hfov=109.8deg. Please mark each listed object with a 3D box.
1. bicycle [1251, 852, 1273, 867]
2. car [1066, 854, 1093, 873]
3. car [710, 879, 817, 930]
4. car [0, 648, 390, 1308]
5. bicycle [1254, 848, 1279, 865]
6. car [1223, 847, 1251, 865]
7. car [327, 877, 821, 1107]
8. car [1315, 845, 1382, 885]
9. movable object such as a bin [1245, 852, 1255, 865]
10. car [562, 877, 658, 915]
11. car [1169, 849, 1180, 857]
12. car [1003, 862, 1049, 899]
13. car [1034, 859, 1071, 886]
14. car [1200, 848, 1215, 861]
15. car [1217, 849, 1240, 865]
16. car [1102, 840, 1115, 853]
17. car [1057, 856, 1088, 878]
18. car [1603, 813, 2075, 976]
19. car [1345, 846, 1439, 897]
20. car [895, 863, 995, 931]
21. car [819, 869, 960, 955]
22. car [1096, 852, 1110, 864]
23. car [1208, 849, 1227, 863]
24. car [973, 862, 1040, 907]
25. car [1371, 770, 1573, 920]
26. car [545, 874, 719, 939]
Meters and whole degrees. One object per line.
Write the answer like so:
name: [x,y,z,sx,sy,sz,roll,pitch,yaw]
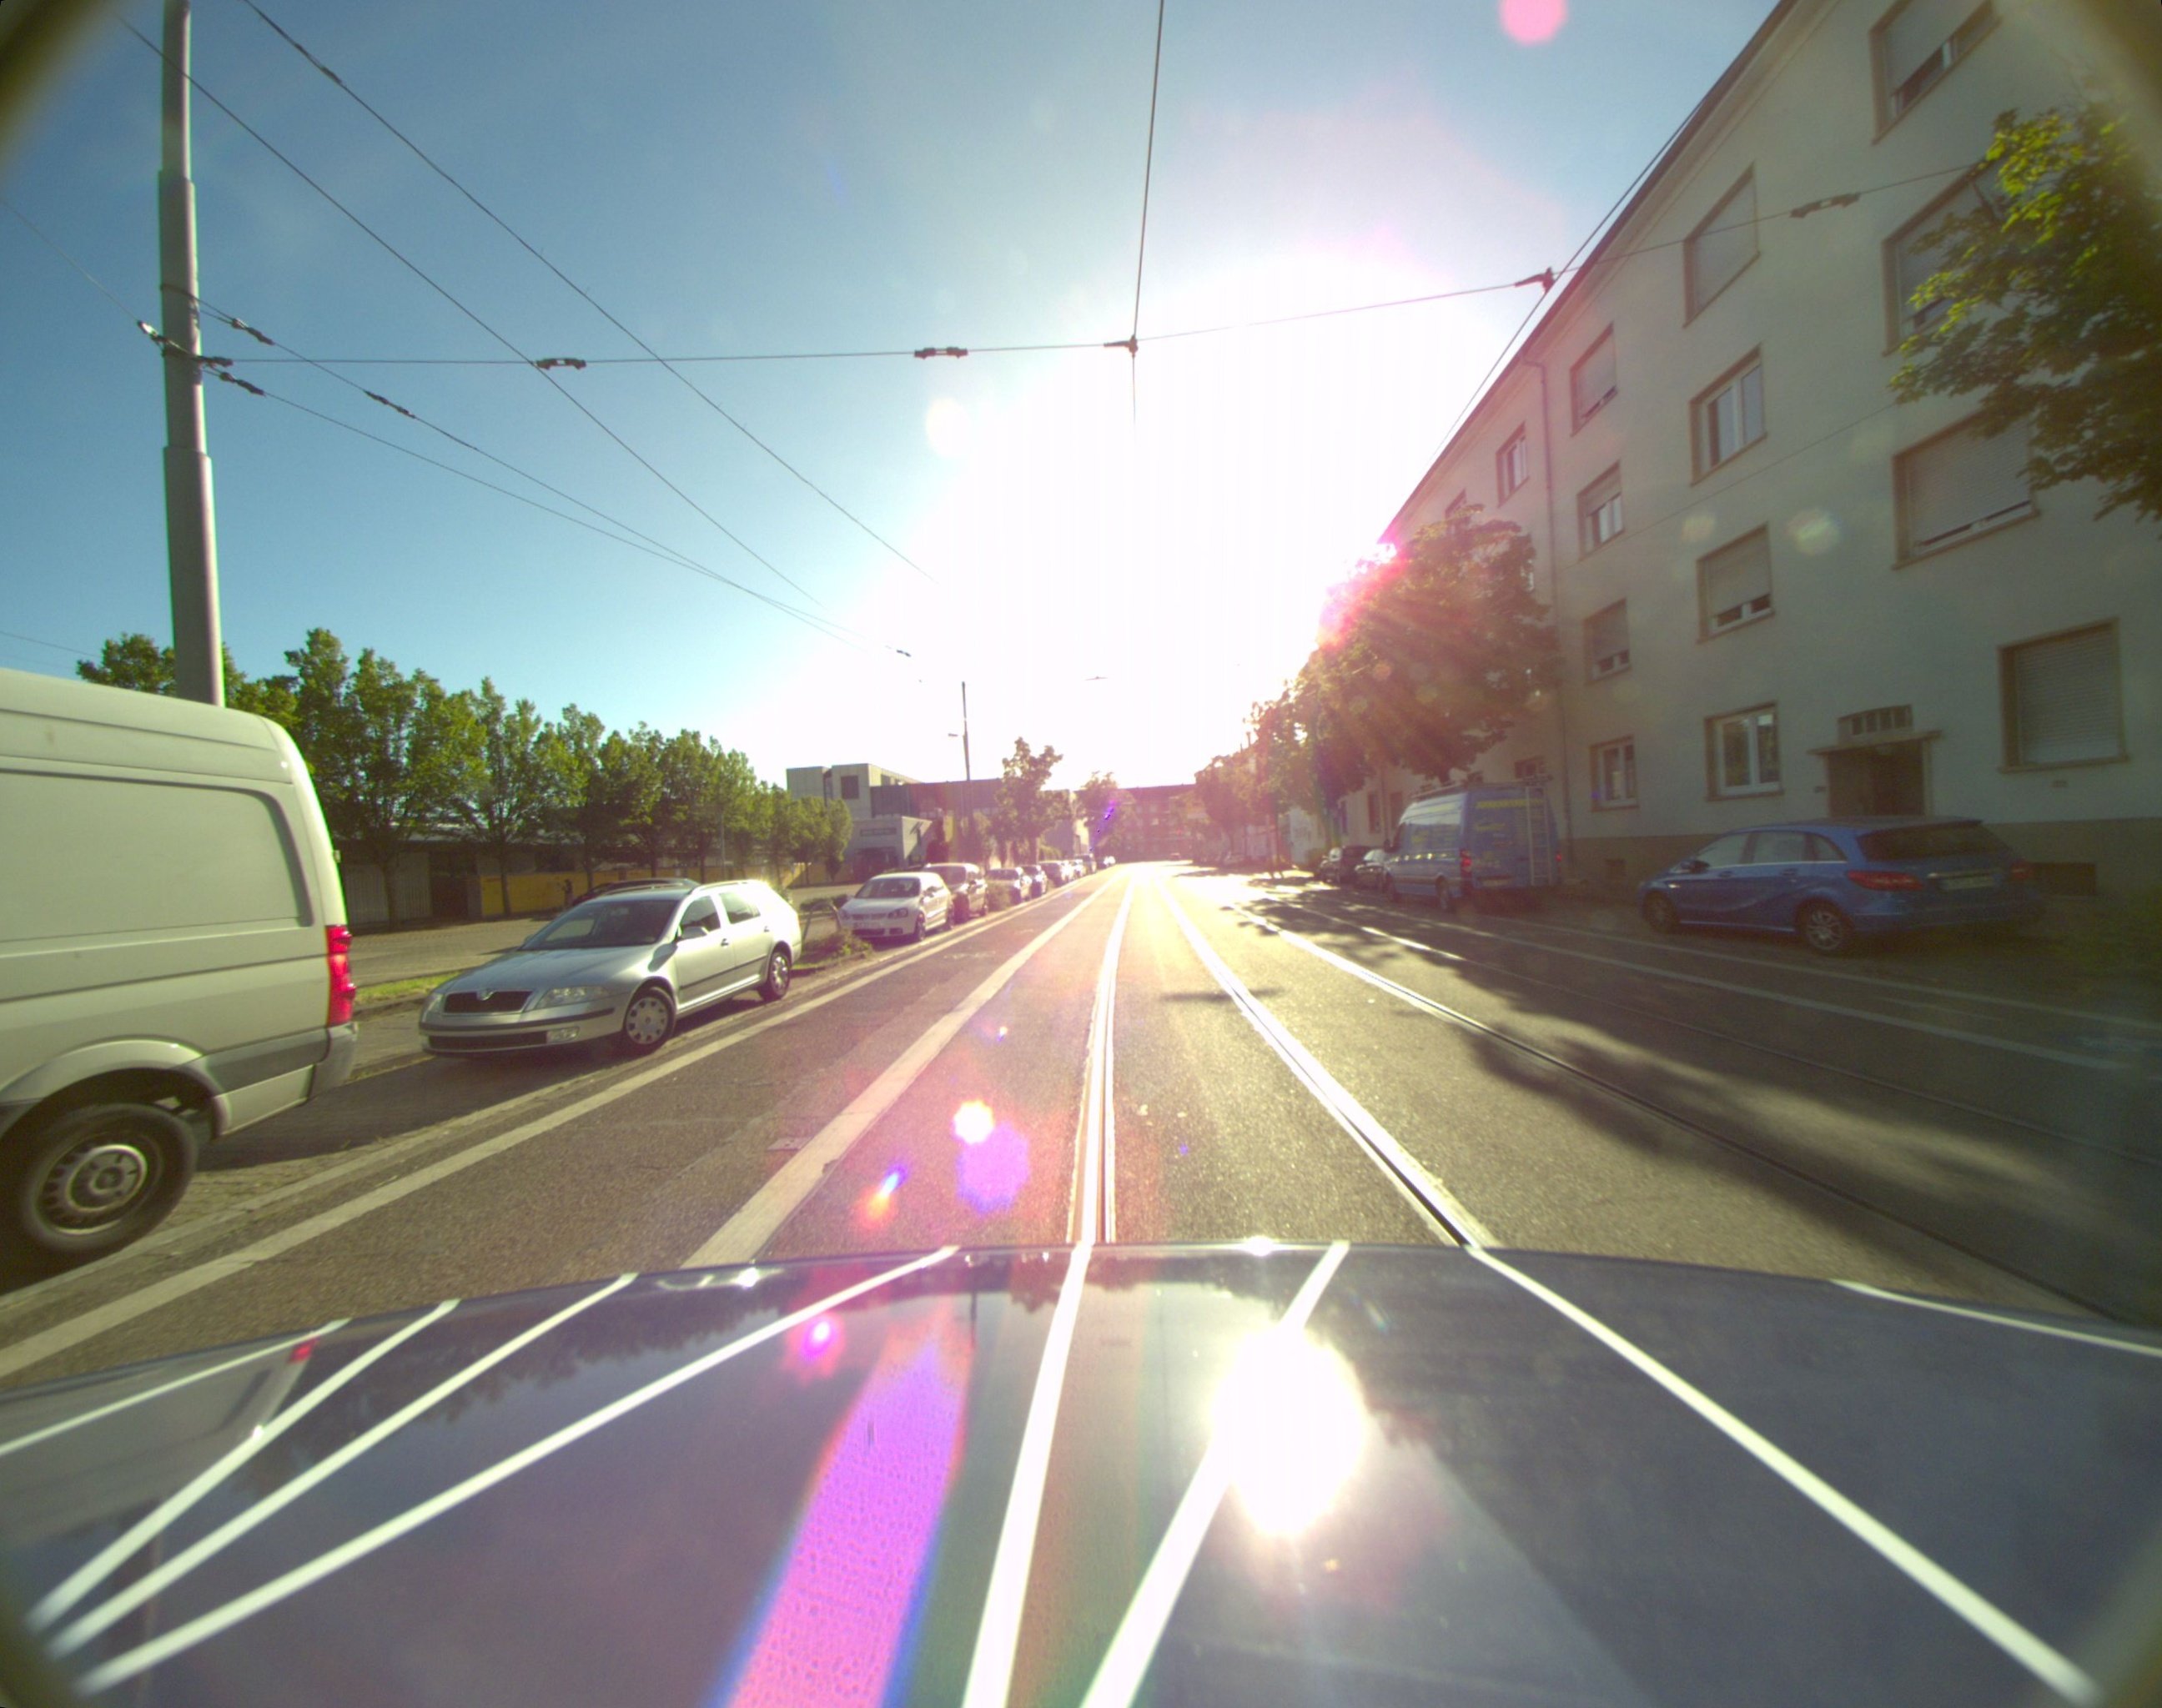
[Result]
bicycle: [13.260,0.399,55.636,0.667,1.034,1.790,-4,1,42]
car: [-0.107,0.830,69.457,1.877,1.464,4.077,-4,0,7]
car: [-8.240,1.278,19.989,1.312,1.027,3.057,-4,0,4]
car: [-5.526,0.526,1.648,2.185,2.650,6.092,-1,1,3]
bicycle: [12.688,0.181,51.872,1.990,1.034,0.531,-5,1,-41]
car: [14.492,0.157,70.771,1.869,1.482,4.662,-4,0,4]
car: [-4.692,1.142,8.128,1.914,1.521,4.601,-3,0,4]
car: [11.201,0.410,32.101,1.655,1.482,4.001,-4,0,5]
movable object such as a bin: [14.190,0.366,63.758,0.583,0.954,0.702,-9,0,5]
car: [-21.553,1.896,34.854,3.319,1.488,1.741,-3,1,7]
car: [17.607,-0.149,142.910,1.770,1.455,4.748,-2,1,4]
car: [-2.545,1.220,36.214,1.732,1.455,4.341,-4,0,1]
car: [-1.660,1.068,45.014,1.828,1.484,3.815,-1,1,3]
car: [16.540,0.073,99.518,1.575,1.496,4.001,-4,0,5]
car: [15.257,0.302,78.567,1.776,1.477,4.306,-4,0,5]
car: [4.023,-1.047,111.076,1.746,1.702,4.278,-4,0,2]
car: [-0.657,1.006,59.852,1.828,1.476,4.603,-4,0,6]
car: [9.327,0.396,10.089,1.795,1.551,4.643,-4,0,4]
car: [10.225,0.518,25.282,1.655,1.416,4.190,-4,0,5]
car: [-3.718,1.128,21.590,1.731,1.595,4.343,-1,1,4]
car: [-4.105,1.190,17.048,1.731,1.503,4.253,-2,1,5]
car: [3.028,0.547,104.185,1.706,1.473,4.659,-1,1,5]
car: [16.803,0.228,93.696,1.877,1.420,4.294,-4,0,5]
car: [-2.890,1.161,30.429,1.731,1.455,4.499,-4,0,5]
car: [8.834,-0.206,17.973,2.021,2.809,6.034,-4,0,6]
car: [-12.375,1.422,21.085,3.711,1.392,1.759,-4,1,4]
